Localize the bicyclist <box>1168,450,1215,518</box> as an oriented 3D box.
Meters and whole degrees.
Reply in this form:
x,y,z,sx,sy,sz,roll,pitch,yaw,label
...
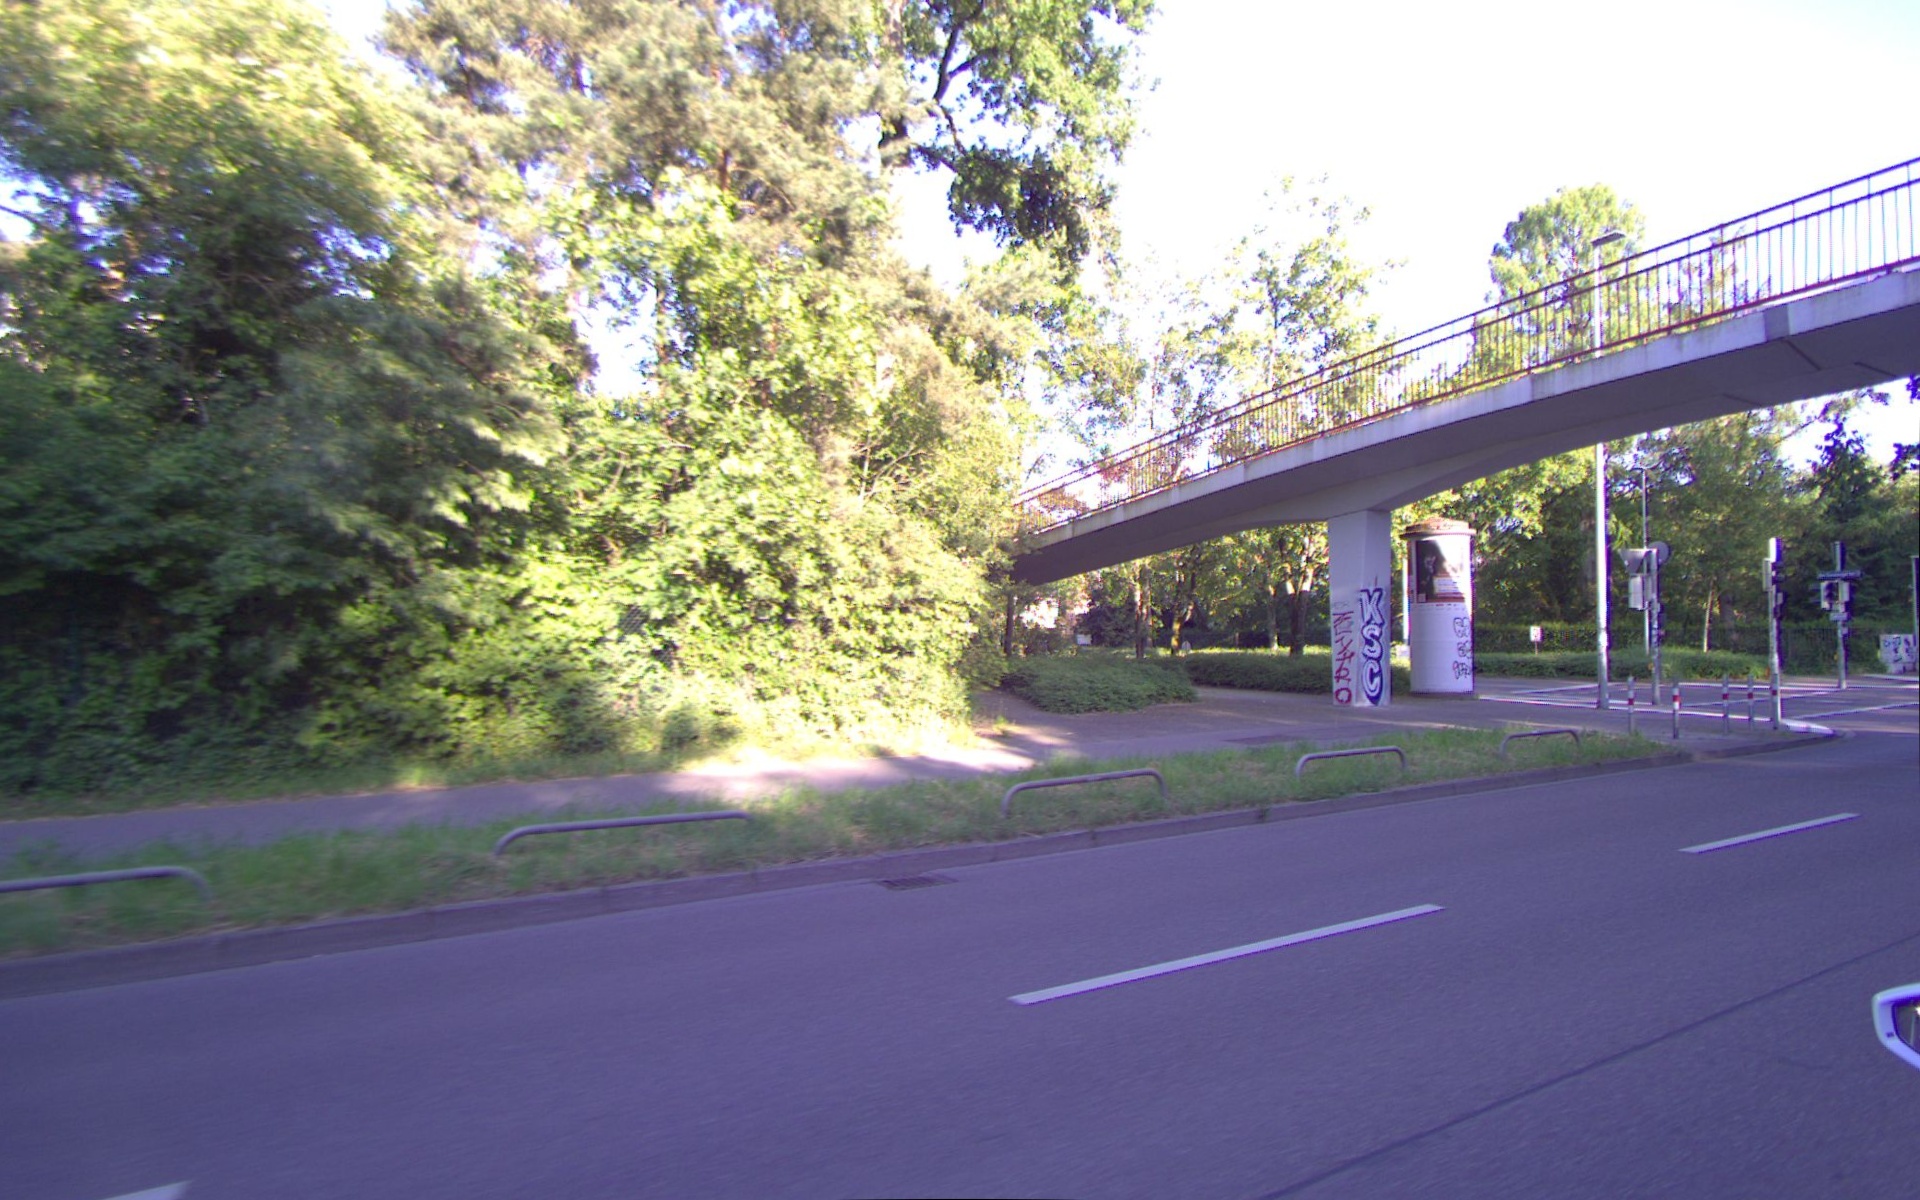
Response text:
x,y,z,sx,sy,sz,roll,pitch,yaw,label
6.033,-3.012,26.191,0.706,1.607,0.965,2,-1,-31,bicyclist

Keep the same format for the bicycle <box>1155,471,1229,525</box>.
x,y,z,sx,sy,sz,roll,pitch,yaw,label
6.021,-2.629,26.198,0.706,1.162,1.976,2,-1,-31,bicycle
